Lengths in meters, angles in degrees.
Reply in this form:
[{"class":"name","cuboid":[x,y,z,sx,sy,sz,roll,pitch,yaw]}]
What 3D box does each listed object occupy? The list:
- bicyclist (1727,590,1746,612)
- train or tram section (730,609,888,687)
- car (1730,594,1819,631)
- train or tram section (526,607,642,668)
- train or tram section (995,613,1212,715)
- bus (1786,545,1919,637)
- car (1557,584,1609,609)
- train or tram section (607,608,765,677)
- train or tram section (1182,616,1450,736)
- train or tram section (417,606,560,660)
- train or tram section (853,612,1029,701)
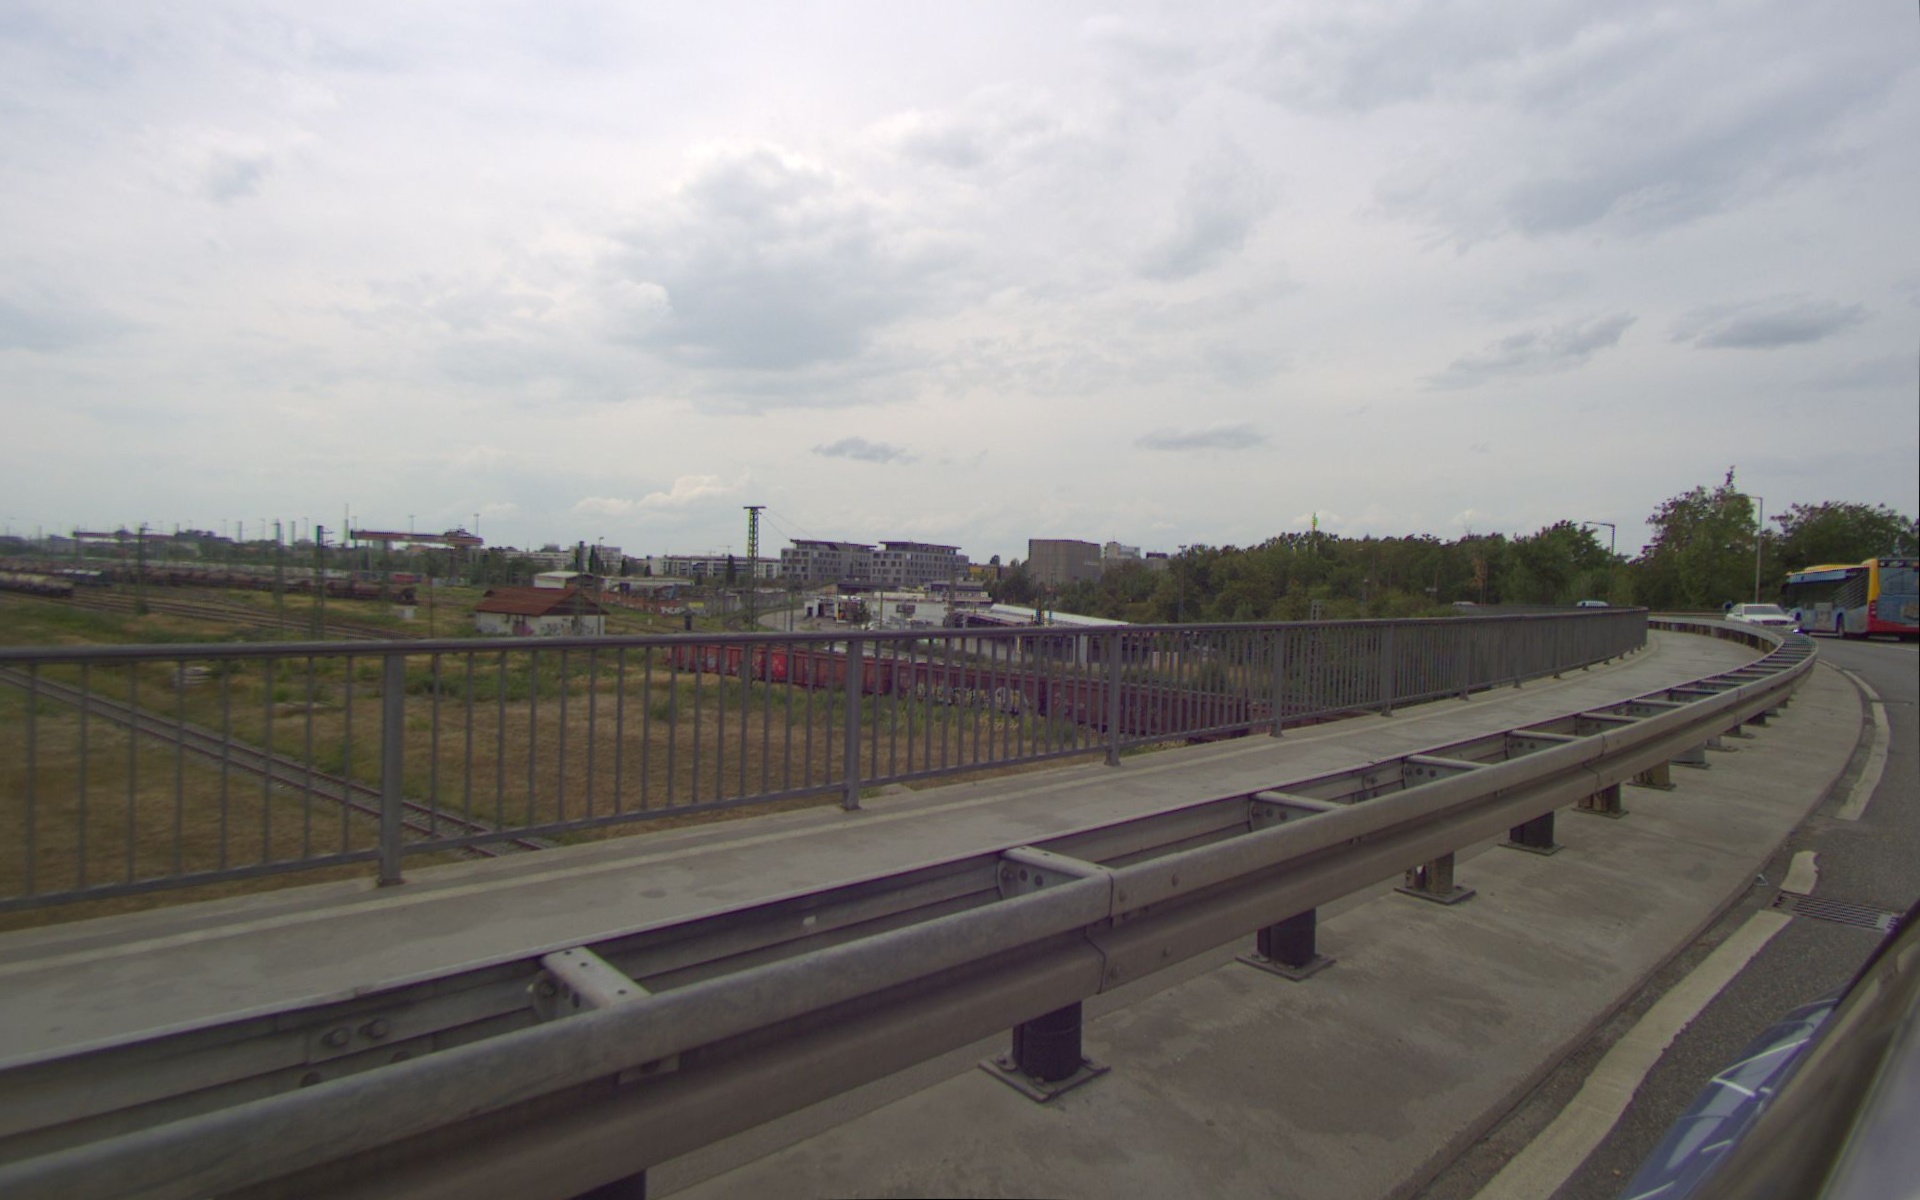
[{"class":"bicyclist","cuboid":[52.350,0.055,68.199,0.701,1.463,0.746,0,-1,9]},{"class":"train or tram section","cuboid":[-12.709,3.712,83.389,14.940,5.748,3.921,0,0,39]},{"class":"car","cuboid":[34.013,0.485,42.359,1.917,1.475,3.855,0,0,24]},{"class":"train or tram section","cuboid":[-38.795,3.621,103.915,15.483,5.695,3.751,0,0,39]},{"class":"train or tram section","cuboid":[8.878,3.801,65.027,14.198,5.669,3.604,0,0,41]},{"class":"bus","cuboid":[37.560,-0.395,41.634,3.013,3.274,12.824,0,0,28]},{"class":"car","cuboid":[44.940,-0.209,73.121,1.935,1.726,4.411,0,-1,15]},{"class":"train or tram section","cuboid":[-25.670,3.667,93.561,18.172,5.714,3.907,0,0,38]},{"class":"train or tram section","cuboid":[19.182,3.848,55.712,13.597,5.644,3.597,0,0,42]},{"class":"train or tram section","cuboid":[-54.828,3.563,116.681,25.554,5.549,3.938,0,0,38]},{"class":"train or tram section","cuboid":[-1.650,3.903,74.274,13.842,5.749,3.789,0,0,40]}]
